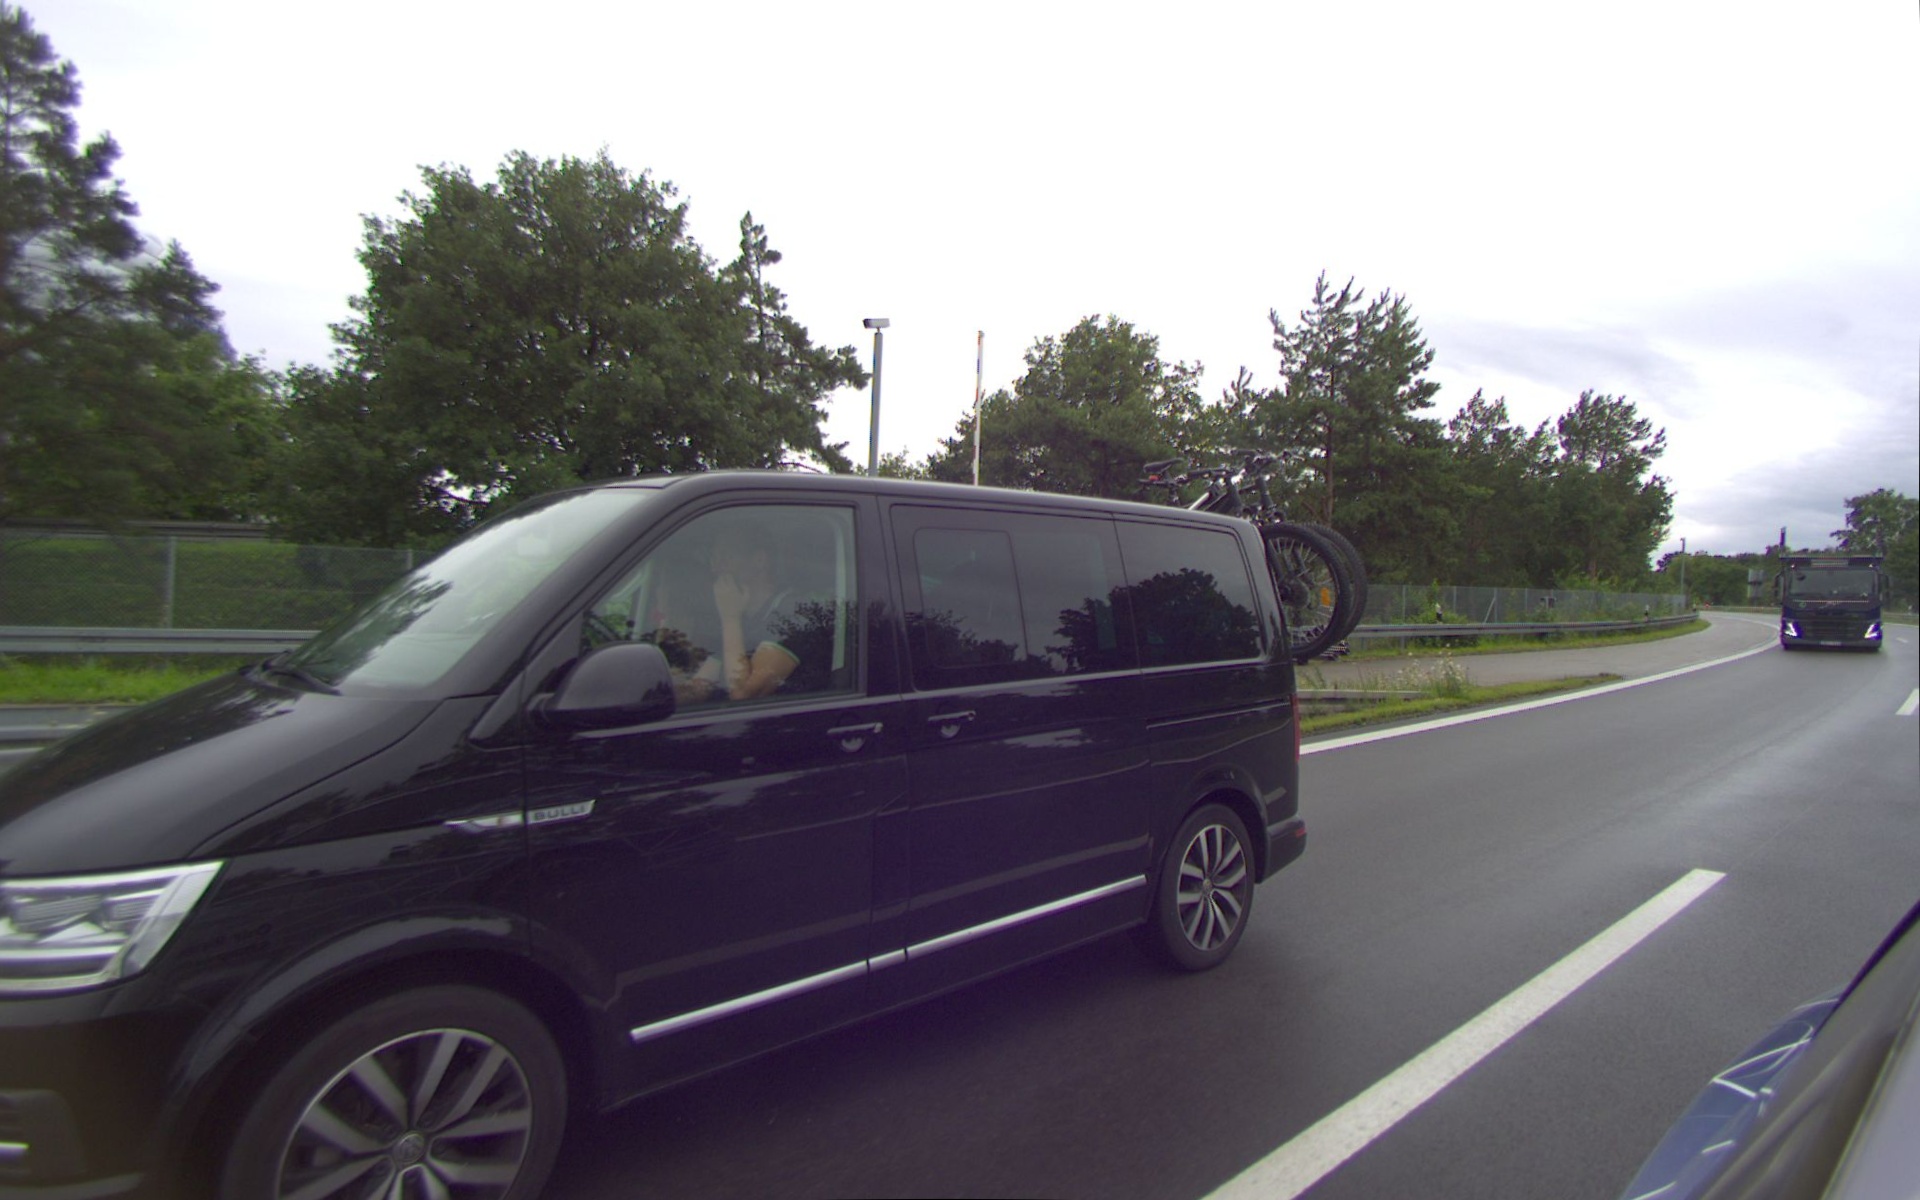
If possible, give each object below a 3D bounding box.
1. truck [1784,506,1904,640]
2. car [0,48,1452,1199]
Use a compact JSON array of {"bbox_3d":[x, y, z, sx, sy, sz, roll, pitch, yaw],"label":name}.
[{"bbox_3d":[30.153,-0.804,34.537,2.736,4.018,8.990,-1,-1,42],"label":"truck"},{"bbox_3d":[-0.210,0.241,4.311,5.795,2.293,2.113,0,-1,-42],"label":"car"}]
